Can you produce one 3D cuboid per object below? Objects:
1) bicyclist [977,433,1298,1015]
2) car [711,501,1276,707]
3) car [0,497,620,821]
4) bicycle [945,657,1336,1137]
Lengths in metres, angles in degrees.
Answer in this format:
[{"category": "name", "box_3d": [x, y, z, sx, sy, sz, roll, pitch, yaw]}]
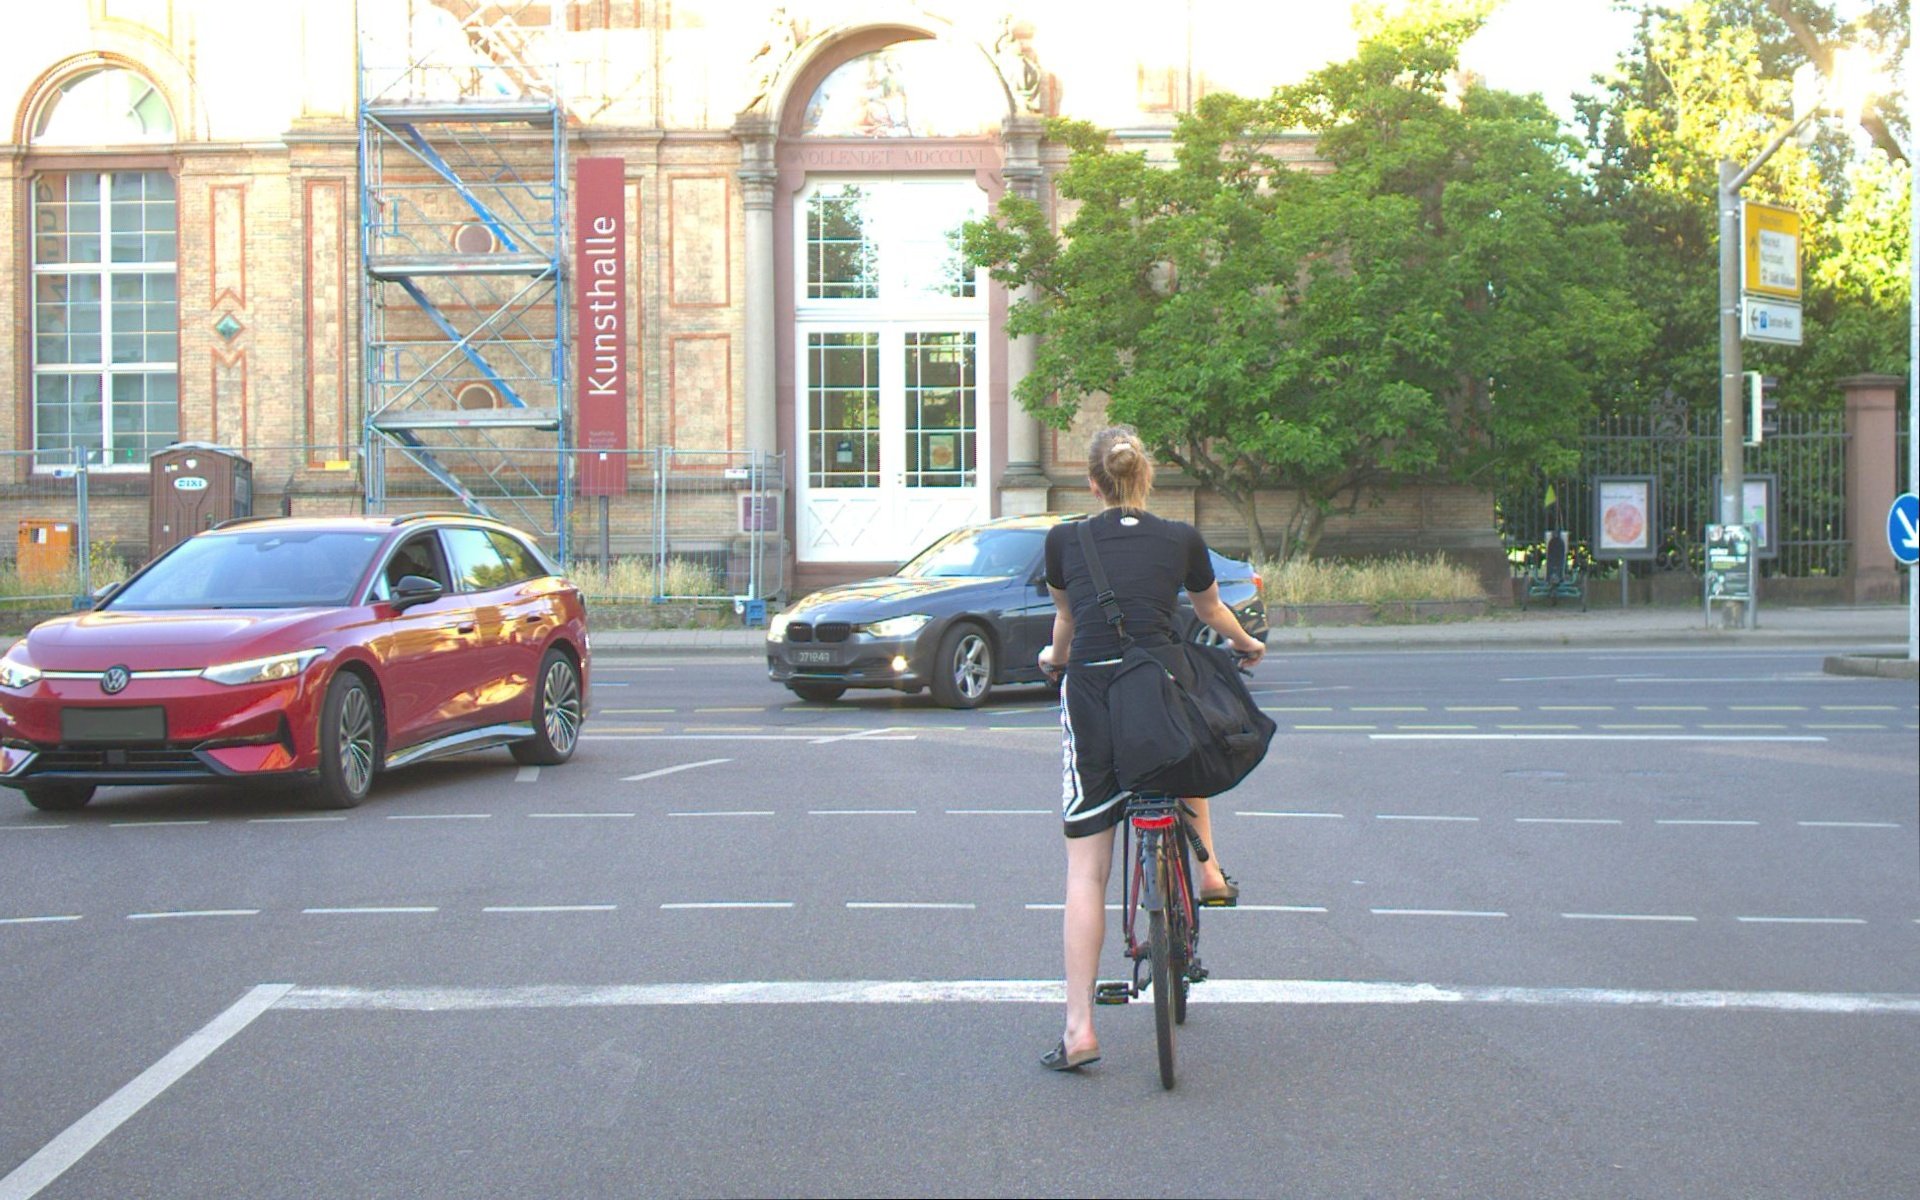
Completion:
[{"category": "bicyclist", "box_3d": [0.498, 0.322, 9.351, 0.716, 1.497, 0.850, 0, 0, 14]}, {"category": "car", "box_3d": [0.334, -0.014, 27.201, 4.411, 1.454, 1.787, -2, 1, -42]}, {"category": "car", "box_3d": [-3.669, 0.231, 19.439, 1.832, 1.540, 4.844, -1, 2, 15]}, {"category": "bicycle", "box_3d": [0.556, 0.753, 9.580, 0.712, 1.152, 2.067, 0, 0, 14]}]
